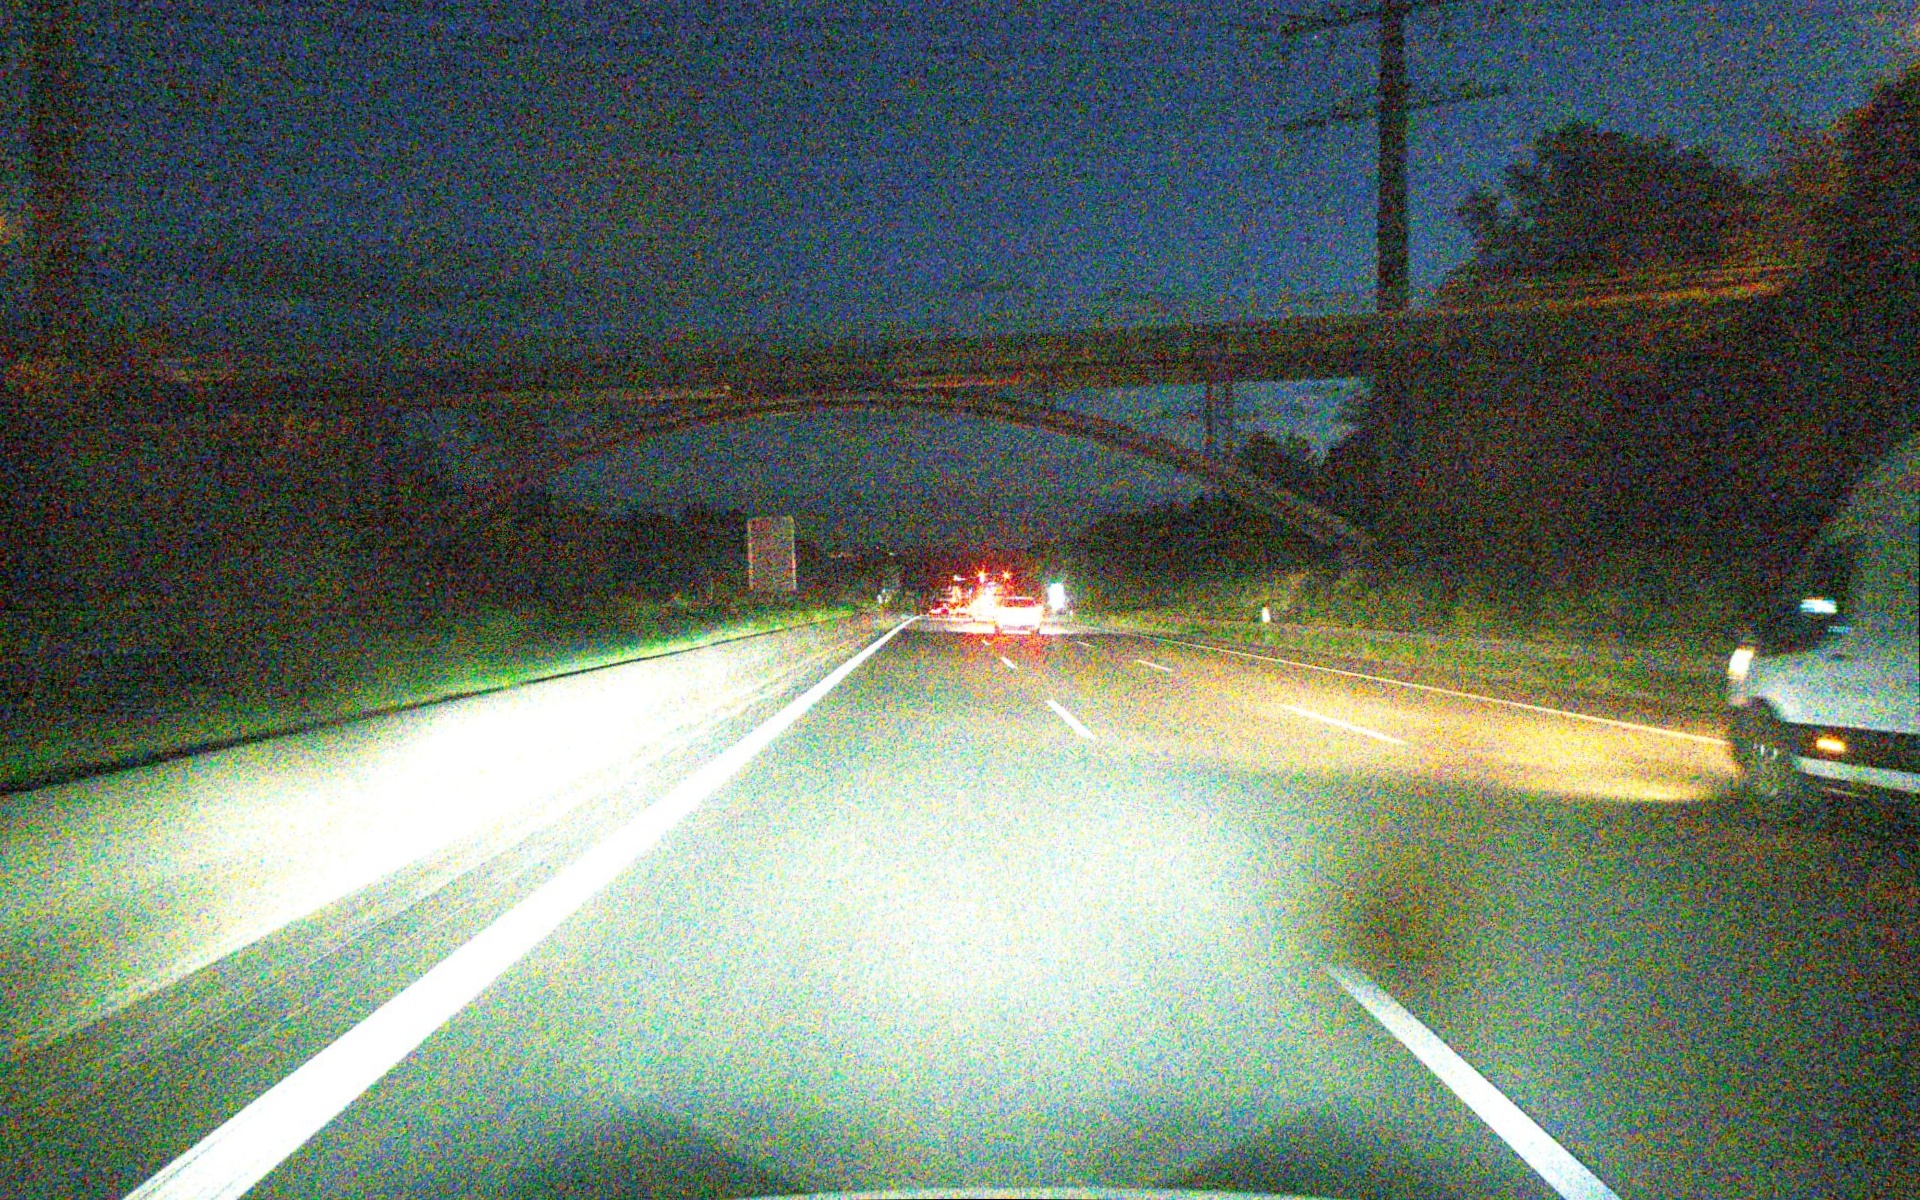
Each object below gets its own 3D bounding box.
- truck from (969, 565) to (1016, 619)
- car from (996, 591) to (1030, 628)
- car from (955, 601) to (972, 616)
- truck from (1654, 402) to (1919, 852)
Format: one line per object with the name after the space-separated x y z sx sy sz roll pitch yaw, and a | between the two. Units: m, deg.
2.151 -0.624 114.227 2.982 3.382 10.142 1 2 0 | truck
2.200 0.367 69.394 1.318 1.411 3.502 1 2 0 | car
0.370 0.994 185.067 1.783 1.491 4.248 1 2 0 | car
6.858 0.179 9.975 2.035 2.738 7.305 1 0 -2 | truck
